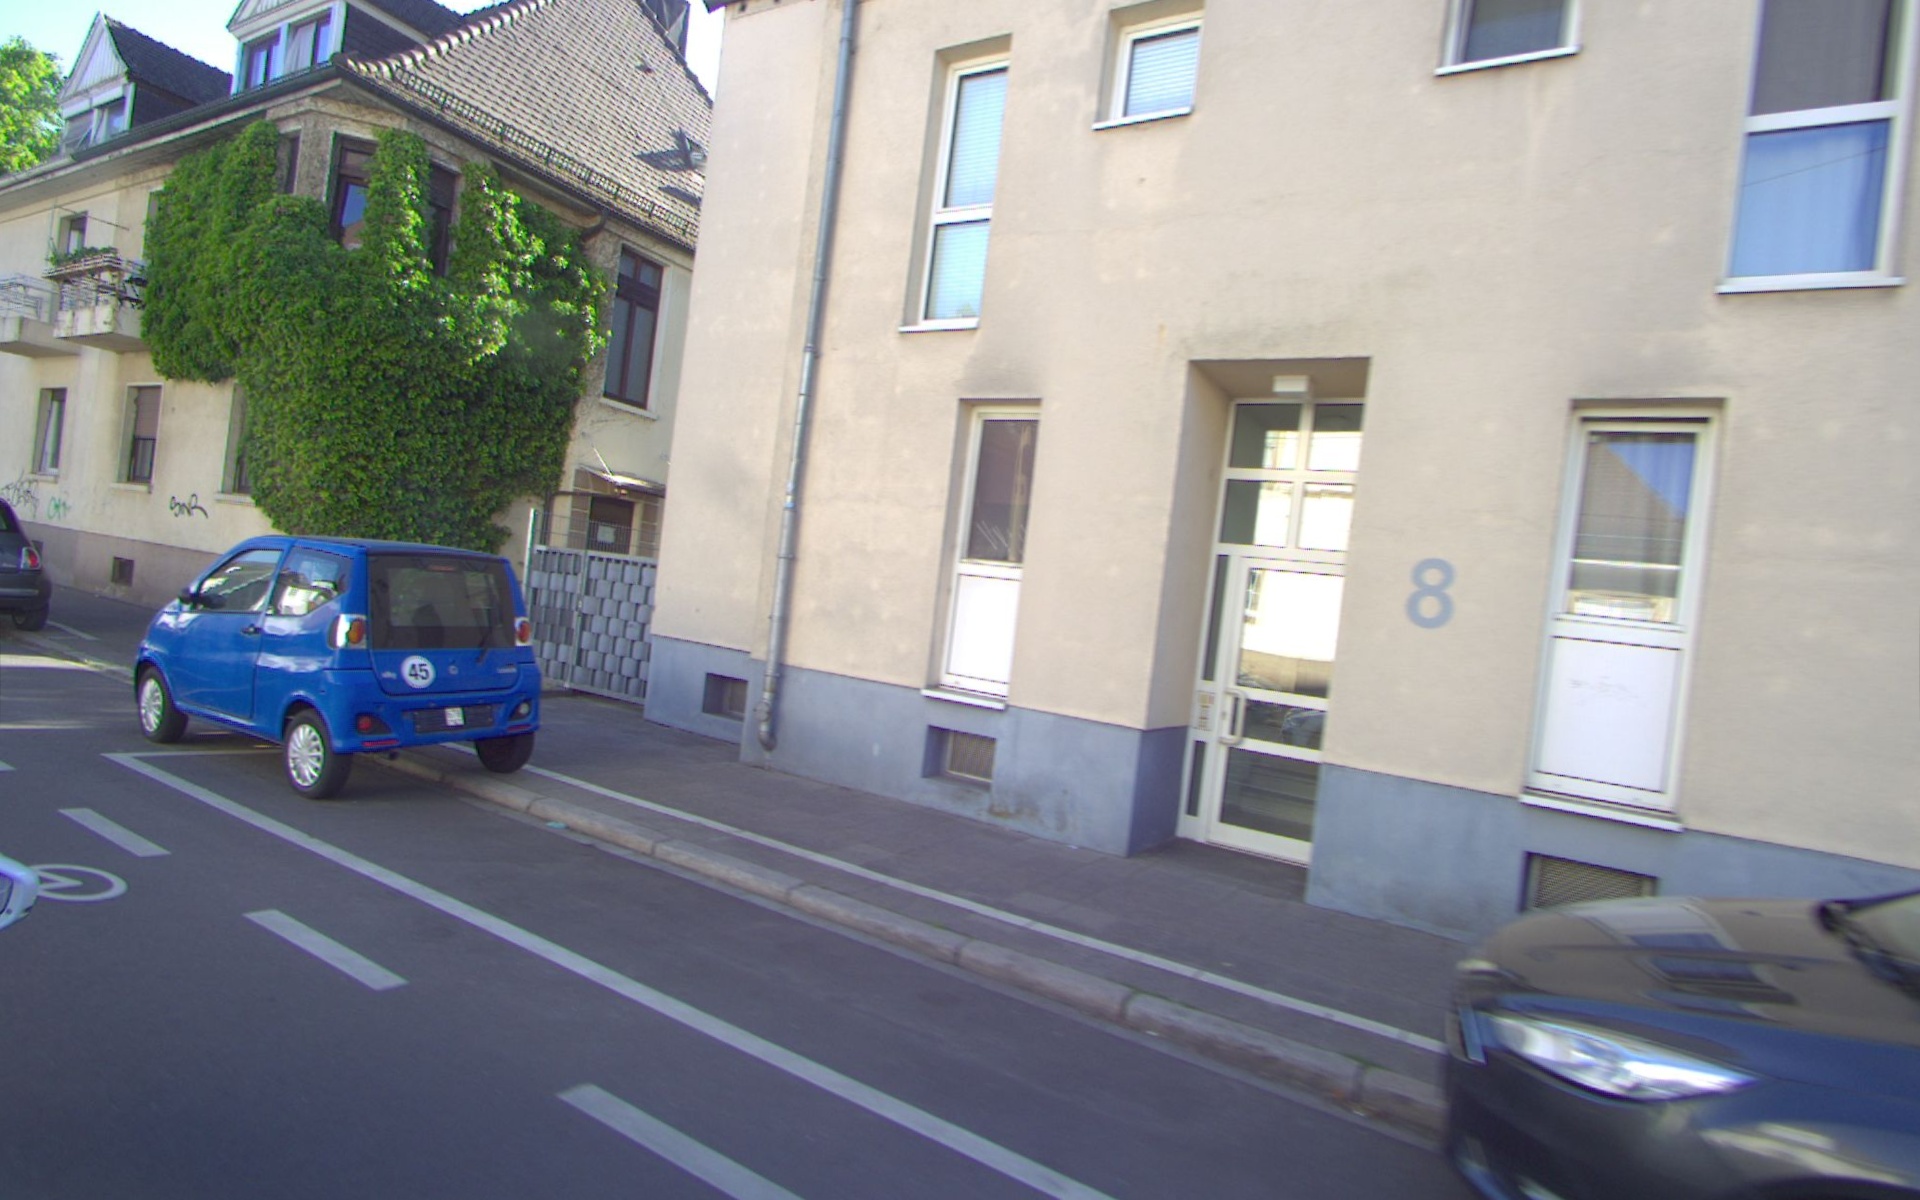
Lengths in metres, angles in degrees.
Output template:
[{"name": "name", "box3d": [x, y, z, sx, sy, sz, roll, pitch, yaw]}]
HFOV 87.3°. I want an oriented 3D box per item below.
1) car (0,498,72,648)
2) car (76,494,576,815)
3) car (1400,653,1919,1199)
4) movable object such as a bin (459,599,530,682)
[{"name": "car", "box3d": [-11.768, -0.506, 11.239, 3.489, 1.543, 1.605, 7, -2, 30]}, {"name": "car", "box3d": [-4.473, 0.293, 7.034, 3.238, 1.617, 1.461, 7, -2, 30]}, {"name": "car", "box3d": [3.419, 1.254, 2.102, 4.358, 1.617, 1.749, 7, -2, 30]}, {"name": "movable object such as a bin", "box3d": [-5.608, 0.487, 12.122, 0.506, 0.927, 0.494, 7, 1, 29]}]
